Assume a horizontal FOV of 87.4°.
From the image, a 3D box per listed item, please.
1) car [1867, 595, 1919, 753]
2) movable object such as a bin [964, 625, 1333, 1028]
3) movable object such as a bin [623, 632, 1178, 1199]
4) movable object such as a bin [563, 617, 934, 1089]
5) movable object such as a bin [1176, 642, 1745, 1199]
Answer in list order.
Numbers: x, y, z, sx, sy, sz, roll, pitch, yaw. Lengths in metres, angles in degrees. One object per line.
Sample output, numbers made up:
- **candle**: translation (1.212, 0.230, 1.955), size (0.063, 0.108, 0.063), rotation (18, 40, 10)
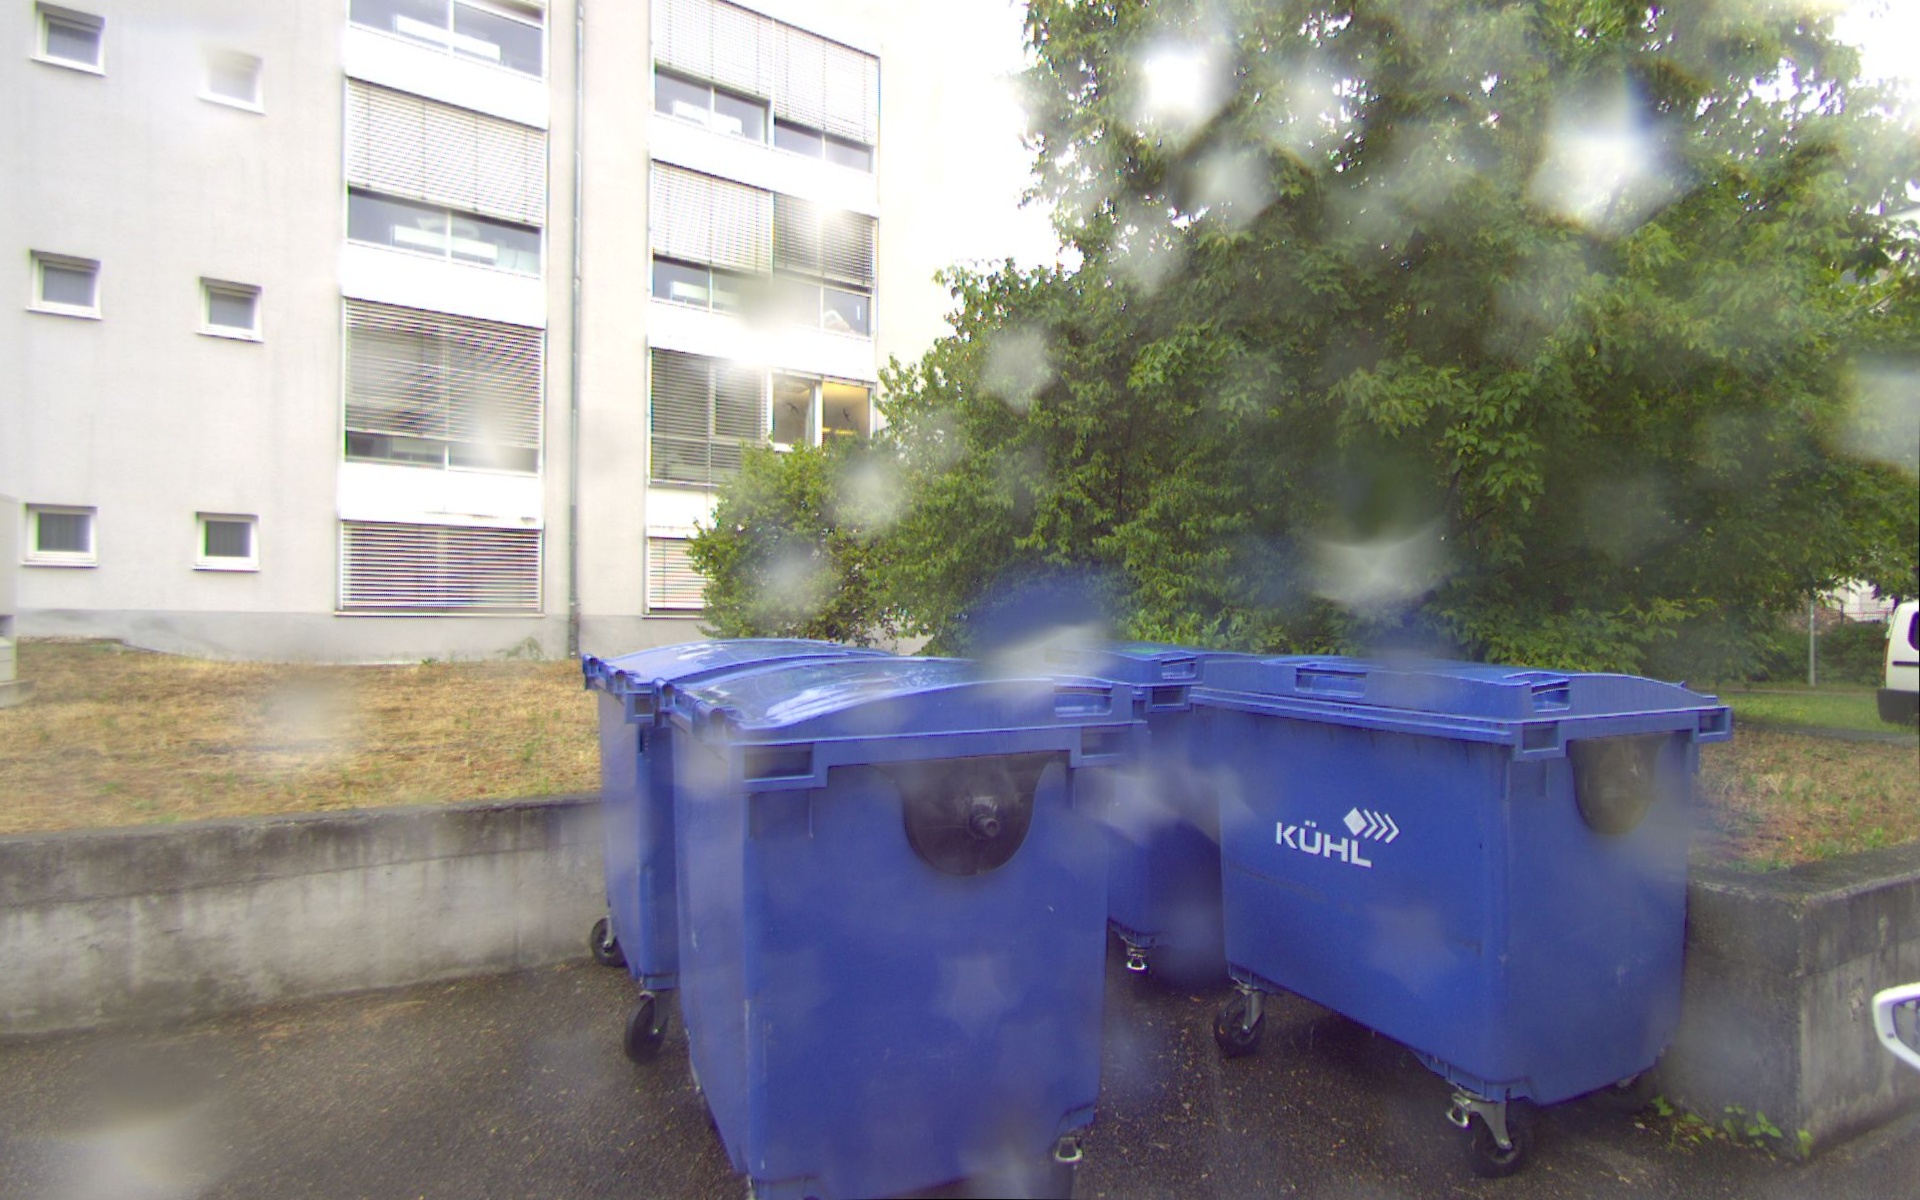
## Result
- **car**: translation (14.099, 0.905, 11.761), size (1.973, 2.040, 4.766), rotation (0, -2, -25)
- **movable object such as a bin**: translation (0.729, 0.793, 4.209), size (0.993, 1.355, 1.217), rotation (0, -1, -26)
- **movable object such as a bin**: translation (-0.246, 0.774, 2.609), size (1.101, 1.355, 1.200), rotation (1, -1, -22)
- **movable object such as a bin**: translation (-0.847, 0.772, 3.781), size (1.102, 1.355, 1.198), rotation (-1, 1, -26)
- **movable object such as a bin**: translation (1.437, 0.823, 3.071), size (0.993, 1.355, 1.217), rotation (1, -1, -26)
